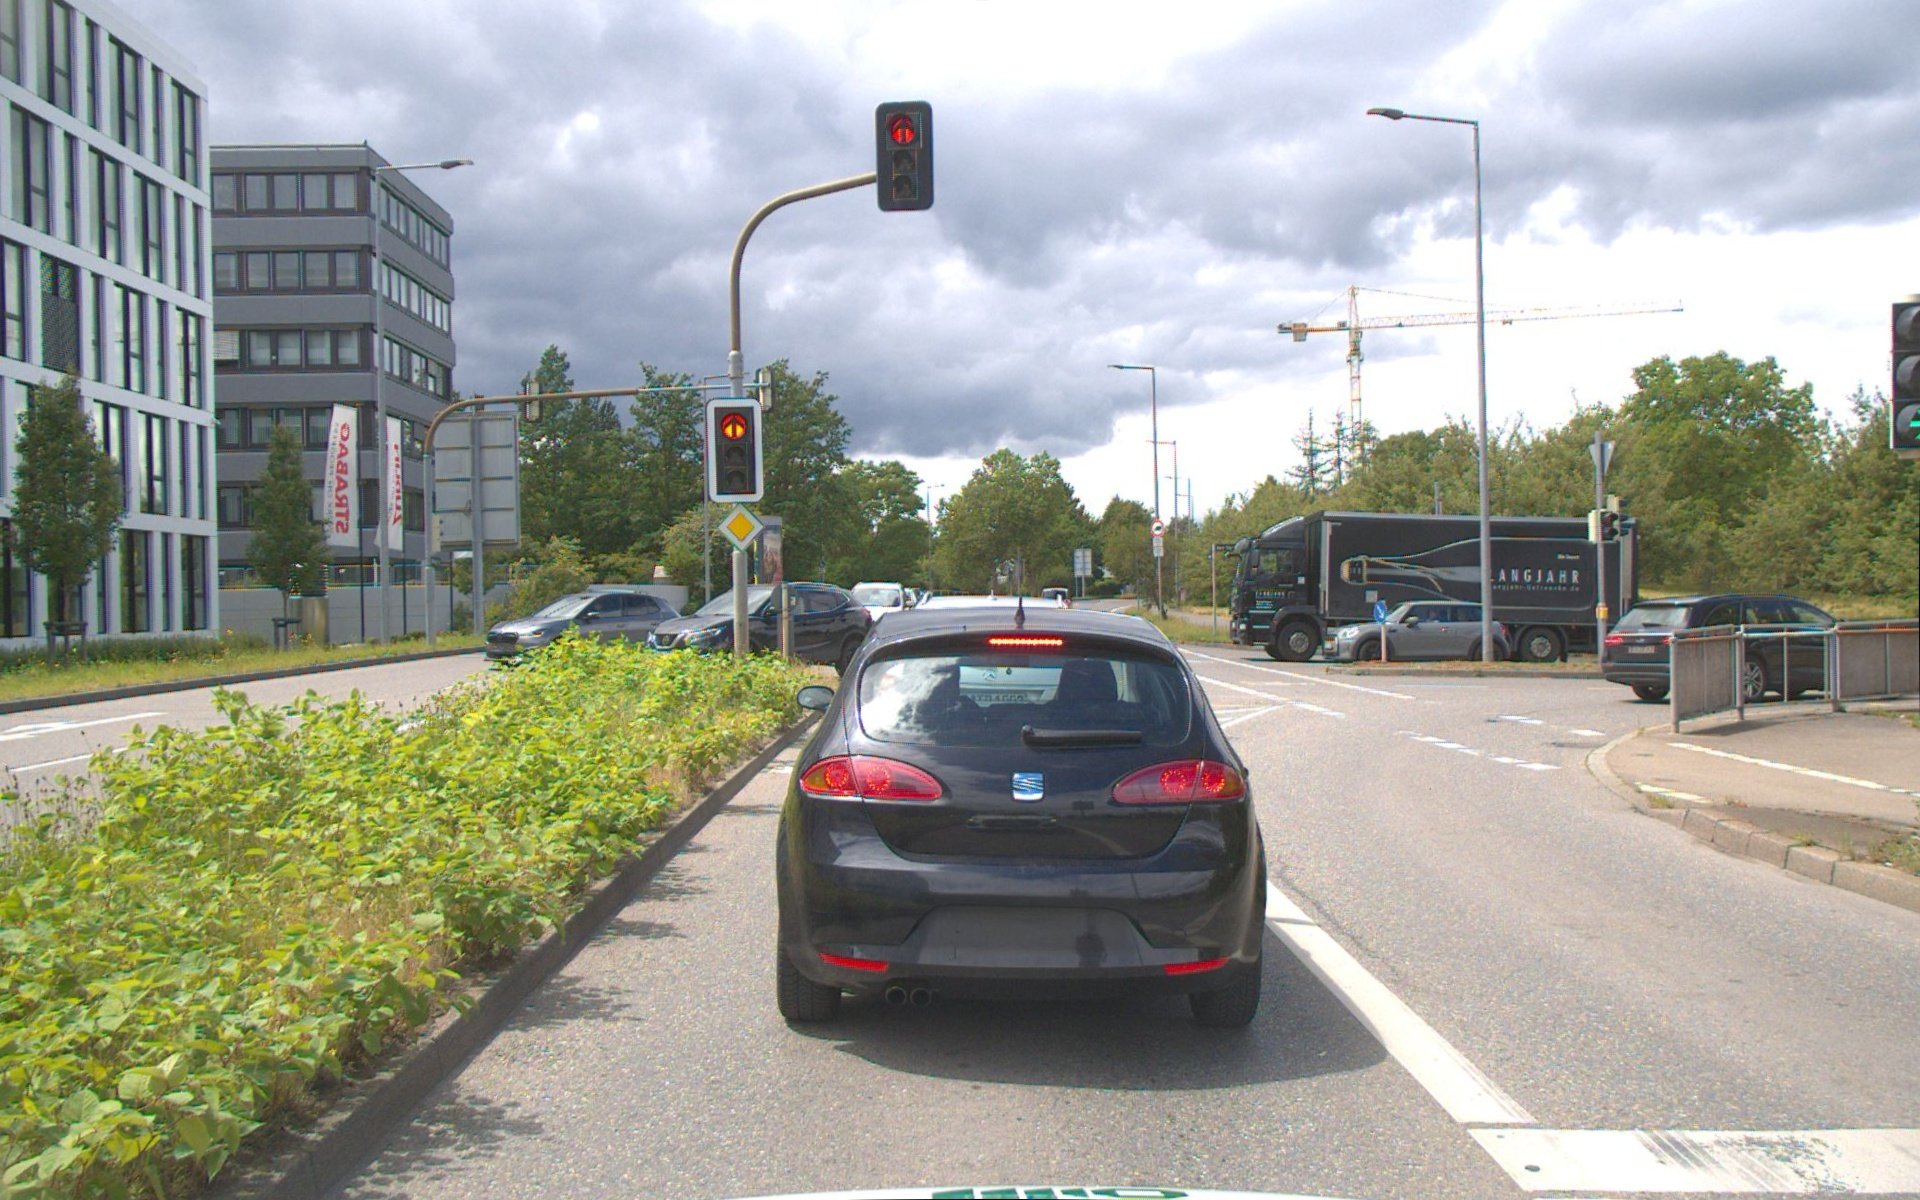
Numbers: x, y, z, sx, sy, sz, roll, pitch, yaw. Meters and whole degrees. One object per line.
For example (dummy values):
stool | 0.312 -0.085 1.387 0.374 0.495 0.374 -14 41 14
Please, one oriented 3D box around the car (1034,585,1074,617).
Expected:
car | 4.719 0.043 83.032 1.952 1.557 4.002 0 0 3

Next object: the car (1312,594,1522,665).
car | 9.674 0.610 35.198 3.907 1.445 1.999 0 0 -3

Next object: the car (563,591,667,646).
car | -9.024 0.449 43.582 1.953 1.375 3.999 0 0 -1

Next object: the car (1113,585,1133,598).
car | 17.969 -0.914 182.194 1.951 1.375 4.004 0 0 11

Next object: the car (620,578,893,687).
car | -3.265 0.478 27.257 1.963 1.644 4.295 -1 0 40

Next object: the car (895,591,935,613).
car | -2.835 0.102 104.873 1.951 1.375 4.003 0 0 7

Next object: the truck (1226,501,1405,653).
truck | 8.415 -0.548 39.425 3.904 3.530 2.001 0 0 2

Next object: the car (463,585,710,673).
car | -7.110 0.509 31.810 1.966 1.552 4.290 -1 0 43

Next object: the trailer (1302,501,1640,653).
trailer | 12.040 -0.548 39.321 7.426 3.519 2.001 0 0 2

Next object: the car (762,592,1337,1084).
car | 0.247 0.716 6.807 1.737 1.477 3.581 0 0 -1

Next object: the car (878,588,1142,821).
car | 0.254 0.686 12.896 1.738 1.517 3.580 -1 0 -3

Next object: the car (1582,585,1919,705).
car | 11.445 0.579 23.530 5.119 1.466 1.863 -2 0 -26

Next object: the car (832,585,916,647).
car | -2.312 0.393 45.609 1.952 1.624 4.001 0 0 2
